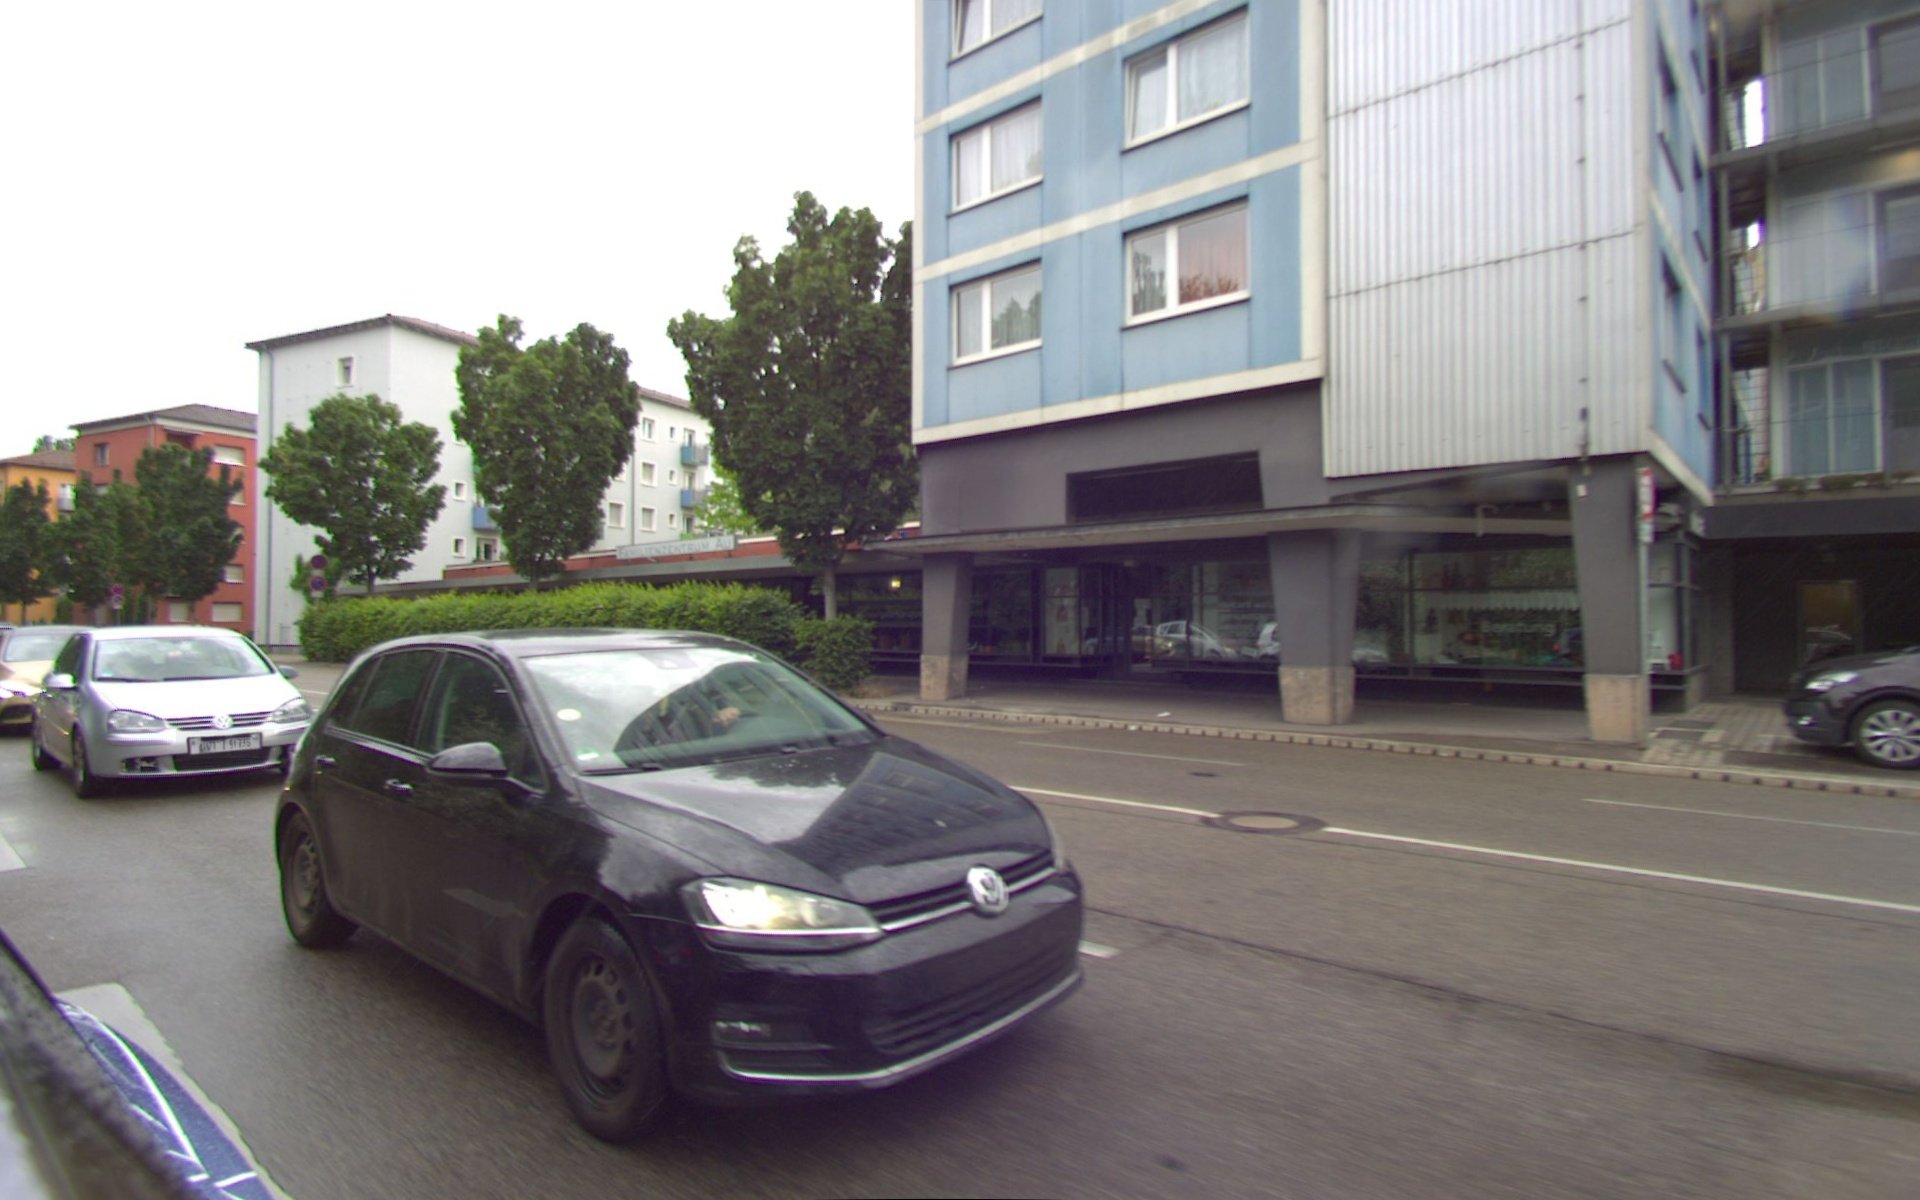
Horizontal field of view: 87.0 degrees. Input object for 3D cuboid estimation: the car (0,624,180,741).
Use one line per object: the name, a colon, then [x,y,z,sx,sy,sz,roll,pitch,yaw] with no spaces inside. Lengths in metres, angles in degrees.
car: [-13.287,1.109,14.886,4.584,1.475,2.044,-2,-2,41]

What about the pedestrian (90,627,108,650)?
pedestrian: [-55.448,2.488,65.177,0.833,1.460,0.666,-1,-3,32]

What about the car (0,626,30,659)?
car: [-53.660,2.339,56.246,4.797,1.763,1.976,-1,-2,36]

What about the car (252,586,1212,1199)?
car: [-1.229,0.775,4.069,3.998,1.464,1.737,-2,-2,41]

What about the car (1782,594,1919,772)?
car: [10.592,0.782,9.589,4.285,1.719,1.523,-1,-1,41]

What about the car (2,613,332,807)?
car: [-7.812,0.904,9.830,4.159,1.498,1.726,-1,-2,41]

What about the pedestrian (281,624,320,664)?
pedestrian: [-30.275,2.002,46.455,1.261,1.818,1.124,-2,-3,37]

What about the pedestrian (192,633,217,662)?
pedestrian: [-40.332,2.534,54.029,1.066,1.529,0.687,-1,-3,32]

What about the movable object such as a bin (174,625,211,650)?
movable object such as a bin: [-46.376,2.264,61.138,2.082,1.496,1.205,-2,-2,35]
